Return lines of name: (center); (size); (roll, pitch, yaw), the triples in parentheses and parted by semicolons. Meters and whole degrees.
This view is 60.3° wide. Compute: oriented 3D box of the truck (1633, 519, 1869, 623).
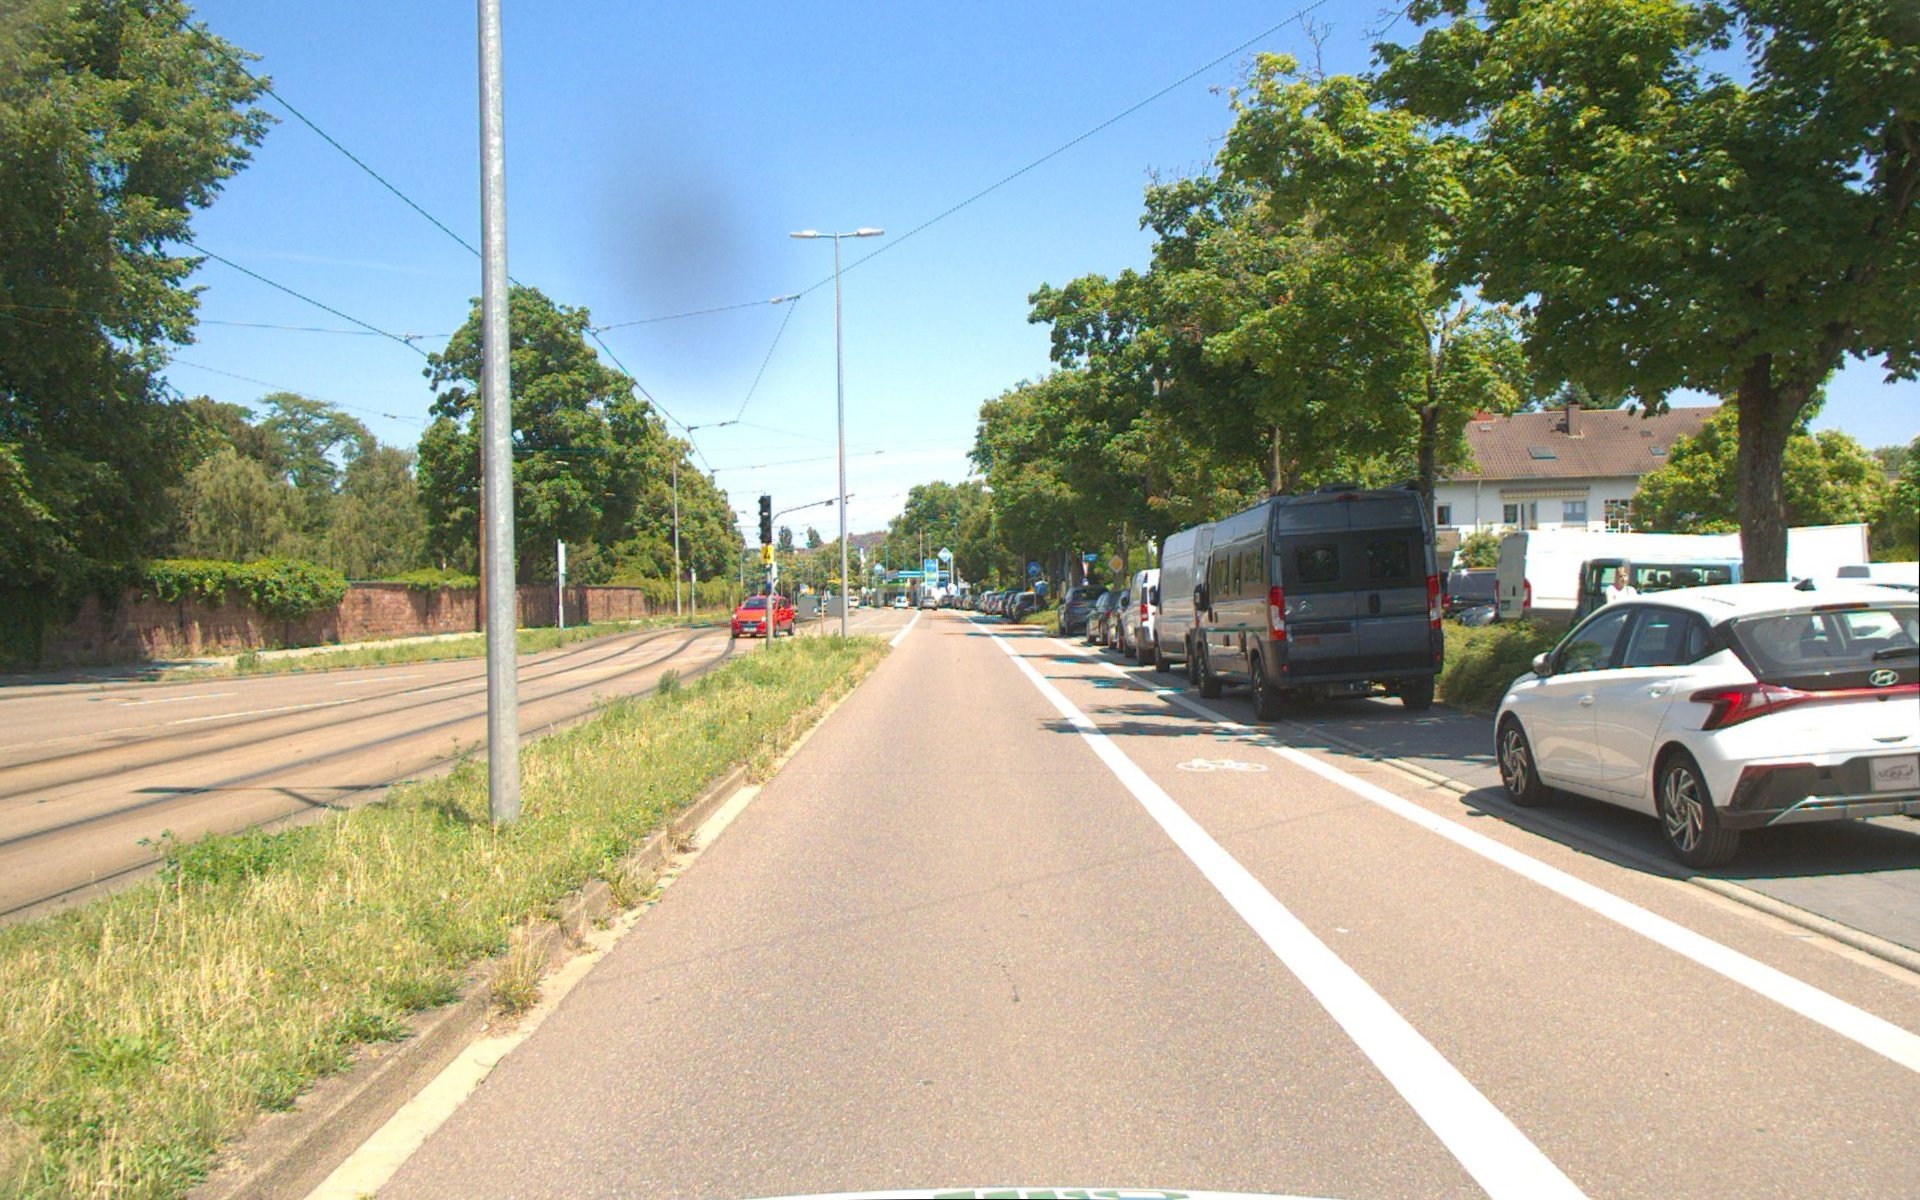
truck: (26.889, -0.977, 56.381); (6.807, 3.138, 2.424); (-3, 0, -2)

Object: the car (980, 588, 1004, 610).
car: (2.843, -0.139, 149.062); (1.804, 1.825, 4.351); (-4, 0, -2)

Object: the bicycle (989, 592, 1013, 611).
bicycle: (3.171, 0.129, 127.043); (1.737, 1.249, 0.684); (-6, 0, 3)

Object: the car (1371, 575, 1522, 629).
car: (14.415, 0.060, 49.097); (3.941, 1.517, 1.769); (1, 0, -3)

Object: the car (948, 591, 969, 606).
car: (-0.189, -0.143, 189.133); (1.675, 1.589, 4.315); (-4, 0, -9)

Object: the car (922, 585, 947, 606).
car: (-3.271, -0.537, 209.158); (1.965, 2.499, 6.093); (-4, 0, -11)

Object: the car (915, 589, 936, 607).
car: (-3.516, -0.234, 167.895); (1.722, 1.658, 4.319); (-4, 0, -5)

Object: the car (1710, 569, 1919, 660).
car: (14.794, 0.245, 27.569); (3.809, 1.430, 1.727); (1, 0, -4)

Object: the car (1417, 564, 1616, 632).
car: (14.650, -0.061, 43.740); (4.596, 1.673, 1.954); (1, 0, 0)

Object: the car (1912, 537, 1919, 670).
car: (14.972, 0.084, 21.840); (3.705, 1.815, 1.952); (1, 0, -5)

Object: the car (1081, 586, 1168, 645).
car: (4.522, 0.388, 46.048); (1.678, 1.443, 4.706); (-4, 0, -3)

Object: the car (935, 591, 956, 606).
car: (-1.734, -0.174, 199.074); (1.724, 1.658, 4.313); (-4, 0, -10)

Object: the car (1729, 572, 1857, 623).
car: (26.995, -0.087, 53.654); (3.266, 1.453, 1.682); (-3, 0, 1)

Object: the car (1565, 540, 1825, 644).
car: (14.535, -0.154, 32.849); (4.320, 1.942, 1.952); (1, 0, -6)

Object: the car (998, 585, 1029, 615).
car: (3.460, -0.017, 107.168); (1.803, 1.736, 4.626); (-3, 0, 0)

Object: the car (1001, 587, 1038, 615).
car: (3.642, 0.057, 101.535); (1.804, 1.556, 4.350); (-4, 0, -3)

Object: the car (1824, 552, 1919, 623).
car: (26.492, -0.400, 46.059); (3.921, 1.839, 1.752); (-3, 0, -4)

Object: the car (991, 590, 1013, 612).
car: (3.285, 0.054, 129.084); (1.488, 1.556, 3.816); (-3, 0, -1)

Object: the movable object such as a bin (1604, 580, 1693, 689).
movable object such as a bin: (8.999, 0.440, 21.646); (0.776, 1.376, 0.889); (-1, 0, -1)

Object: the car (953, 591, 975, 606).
car: (0.430, -0.142, 183.231); (1.676, 1.589, 4.313); (-4, 0, -10)

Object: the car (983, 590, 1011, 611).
car: (2.974, 0.049, 134.085); (1.804, 1.556, 4.962); (-4, 0, -4)

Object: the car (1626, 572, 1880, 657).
car: (14.313, 0.253, 29.951); (3.811, 1.430, 1.726); (1, 0, -6)

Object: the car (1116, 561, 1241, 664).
car: (4.564, 0.218, 35.344); (1.957, 1.911, 5.276); (-3, 0, 1)

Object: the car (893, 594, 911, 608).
car: (-7.377, 0.092, 210.883); (1.723, 1.658, 4.315); (-4, 0, -8)

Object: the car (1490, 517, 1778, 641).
car: (14.494, -0.440, 35.786); (5.378, 2.502, 2.095); (1, 0, 0)

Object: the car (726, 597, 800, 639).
car: (-7.169, 0.638, 60.517); (1.670, 1.438, 4.285); (-1, 0, 7)

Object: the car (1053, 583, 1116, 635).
car: (4.330, 0.316, 57.941); (1.678, 1.661, 4.707); (-4, 0, -1)

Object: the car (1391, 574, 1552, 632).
car: (14.366, 0.085, 46.573); (3.941, 1.517, 1.769); (1, 0, -3)

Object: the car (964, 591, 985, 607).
car: (1.488, -0.119, 172.073); (1.674, 1.518, 5.033); (-4, 0, -5)

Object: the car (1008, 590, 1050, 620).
car: (3.702, 0.238, 89.569); (1.804, 1.461, 4.822); (-4, 0, -3)

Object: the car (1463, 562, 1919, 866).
car: (4.709, 0.553, 10.440); (1.687, 1.452, 4.208); (-3, 0, -1)

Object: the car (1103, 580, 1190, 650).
car: (4.579, 0.340, 41.069); (1.677, 1.567, 3.840); (-3, 0, 1)

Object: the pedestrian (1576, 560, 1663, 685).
pedestrian: (8.985, 0.299, 22.566); (0.789, 1.653, 0.943); (-1, 0, -1)

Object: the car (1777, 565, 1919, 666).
car: (14.719, 0.242, 24.709); (4.191, 1.430, 1.727); (1, 0, -4)

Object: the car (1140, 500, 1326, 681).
car: (4.559, -0.173, 28.642); (1.957, 2.682, 6.141); (-3, 0, -1)

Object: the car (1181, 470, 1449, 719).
car: (4.416, -0.088, 21.704); (1.957, 2.682, 6.077); (-3, 0, -1)

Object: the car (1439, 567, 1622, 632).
car: (14.171, -0.017, 41.189); (3.941, 1.517, 1.769); (1, 0, -3)
